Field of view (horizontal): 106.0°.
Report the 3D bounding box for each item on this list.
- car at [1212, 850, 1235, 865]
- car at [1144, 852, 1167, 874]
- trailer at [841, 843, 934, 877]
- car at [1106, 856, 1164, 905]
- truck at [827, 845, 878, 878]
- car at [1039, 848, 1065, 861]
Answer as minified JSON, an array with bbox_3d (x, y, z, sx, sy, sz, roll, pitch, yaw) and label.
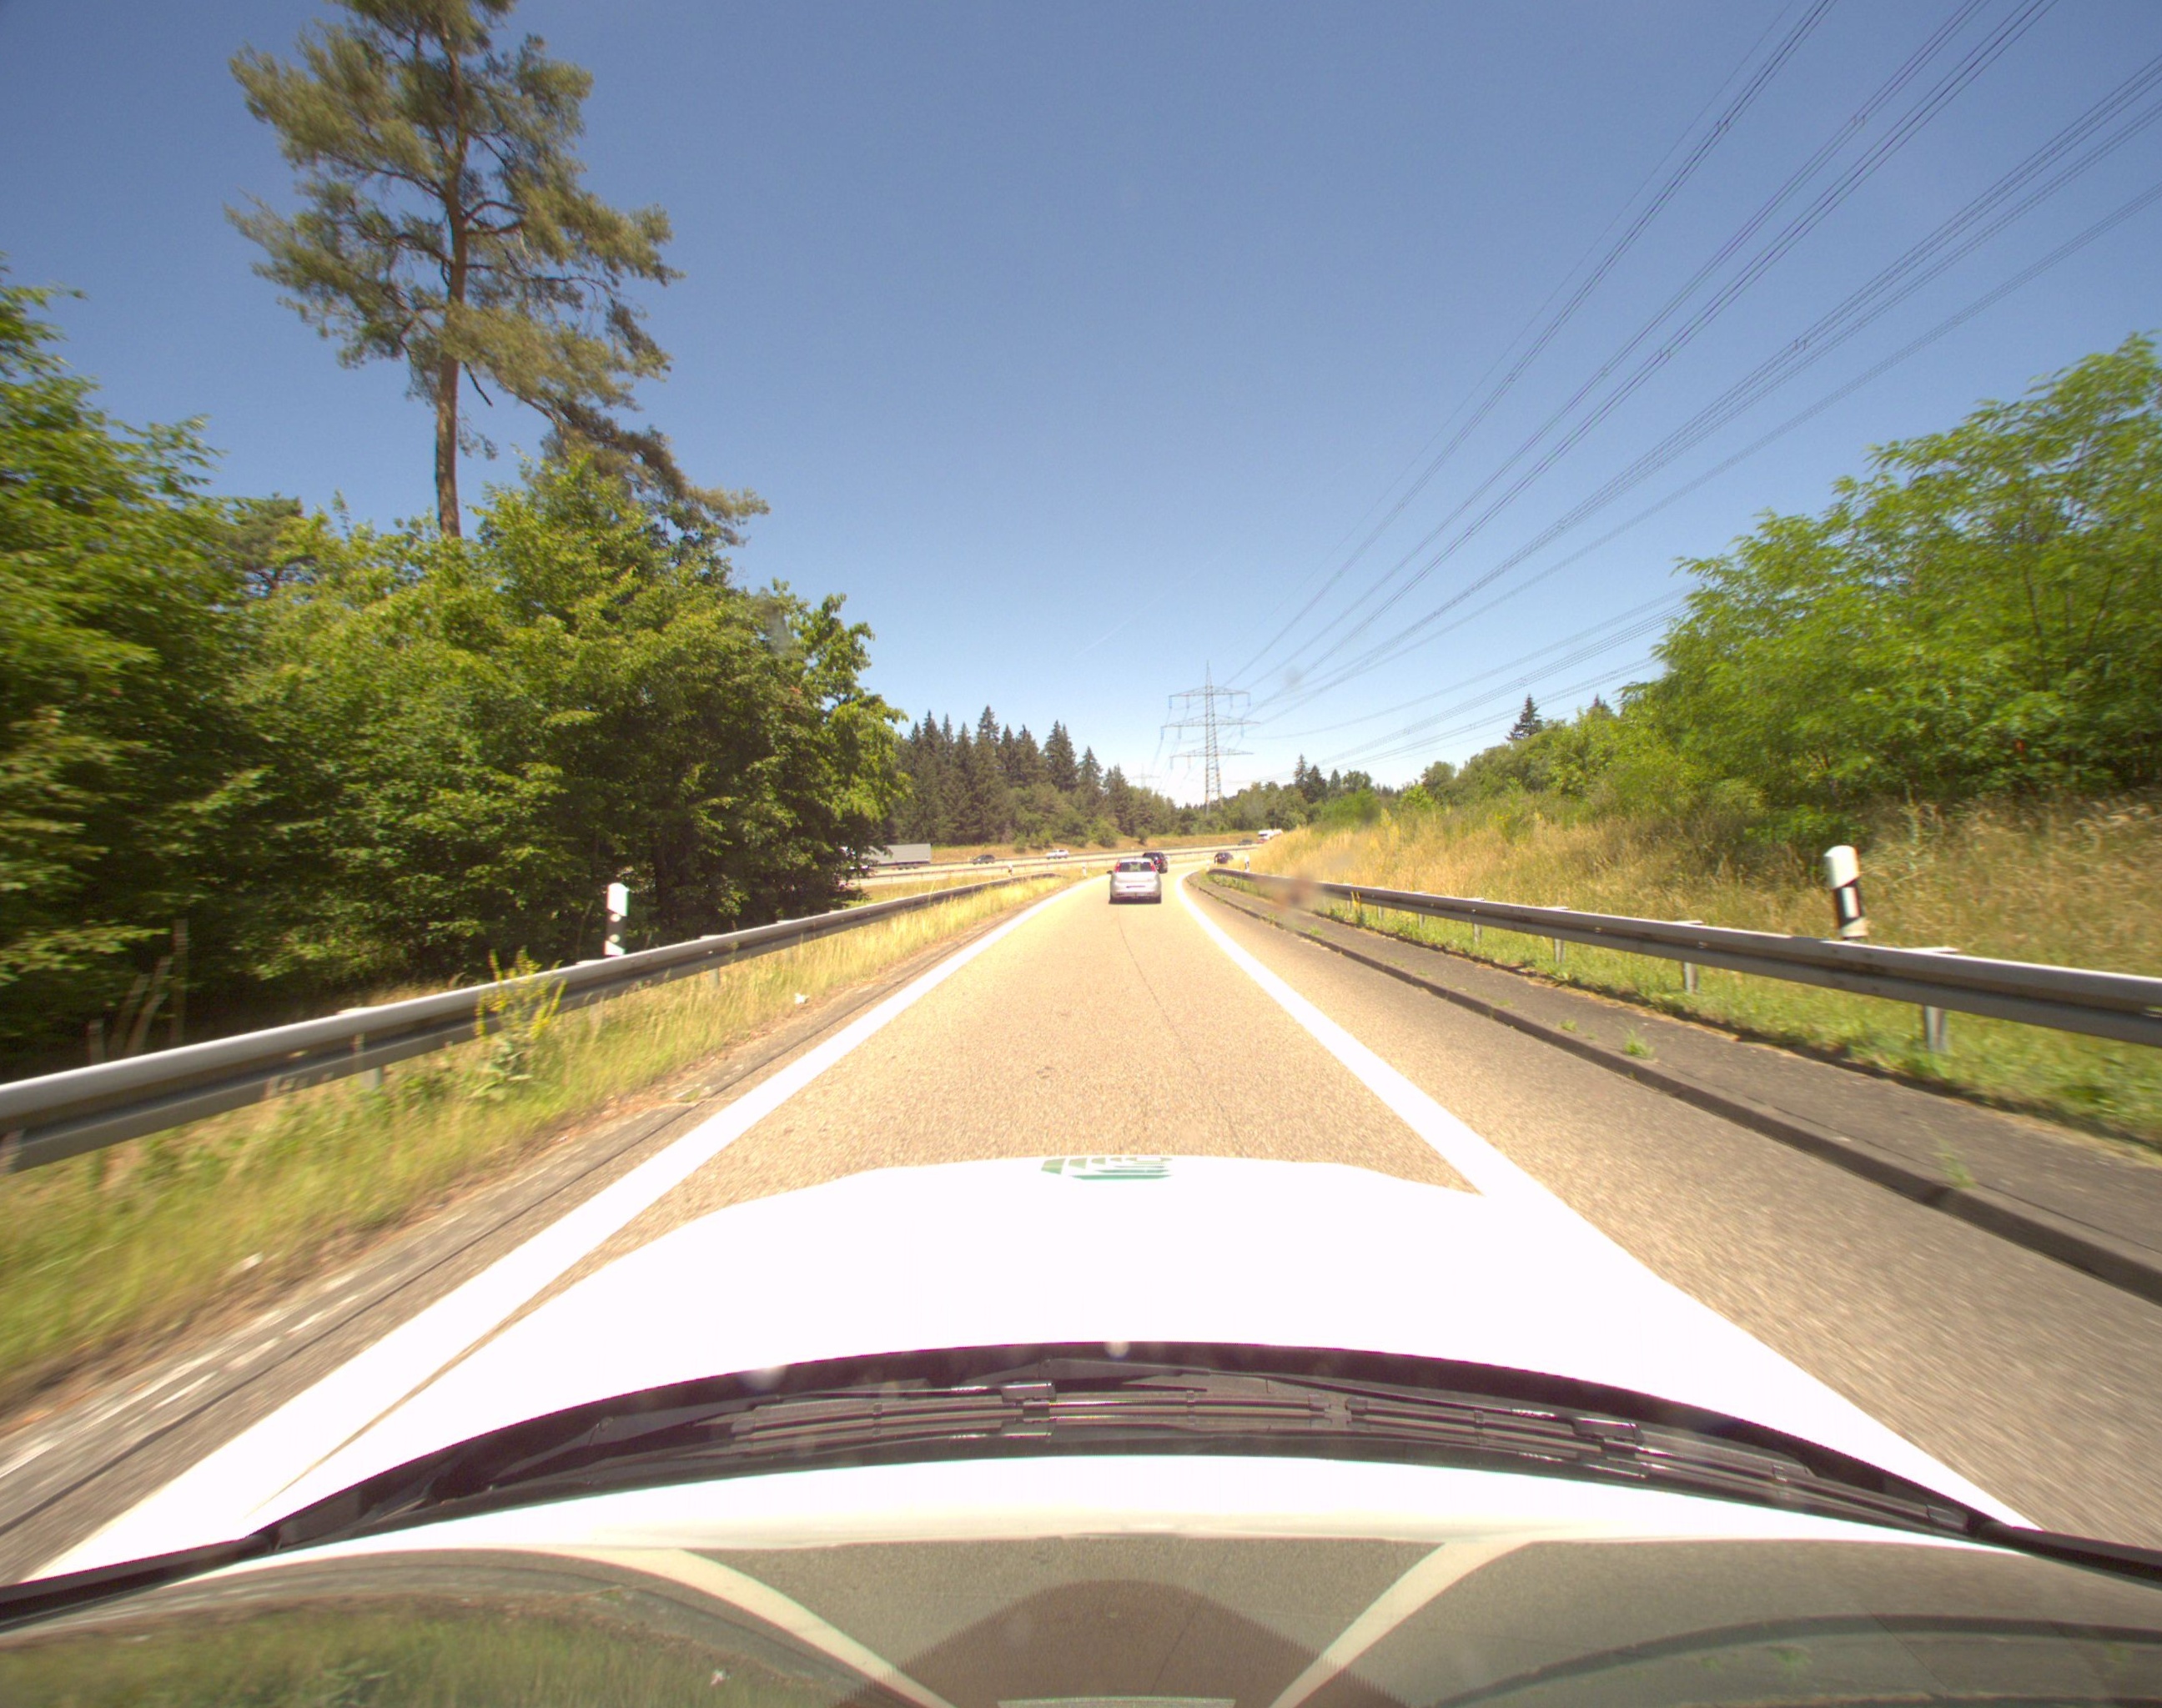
[{"bbox_3d":[17.696,0.426,101.035,1.865,1.684,4.023,-4,0,24],"label":"car"},{"bbox_3d":[6.066,0.697,66.096,1.697,1.676,3.404,-1,0,6],"label":"car"},{"bbox_3d":[-29.004,0.798,123.070,2.896,4.387,14.387,-4,0,41],"label":"trailer"},{"bbox_3d":[1.758,0.841,27.361,1.701,1.481,3.397,0,0,0],"label":"car"},{"bbox_3d":[-33.197,1.015,118.298,2.910,4.392,6.311,-4,0,41],"label":"truck"},{"bbox_3d":[-4.921,0.089,139.018,1.974,1.848,4.386,-2,3,41],"label":"car"}]
